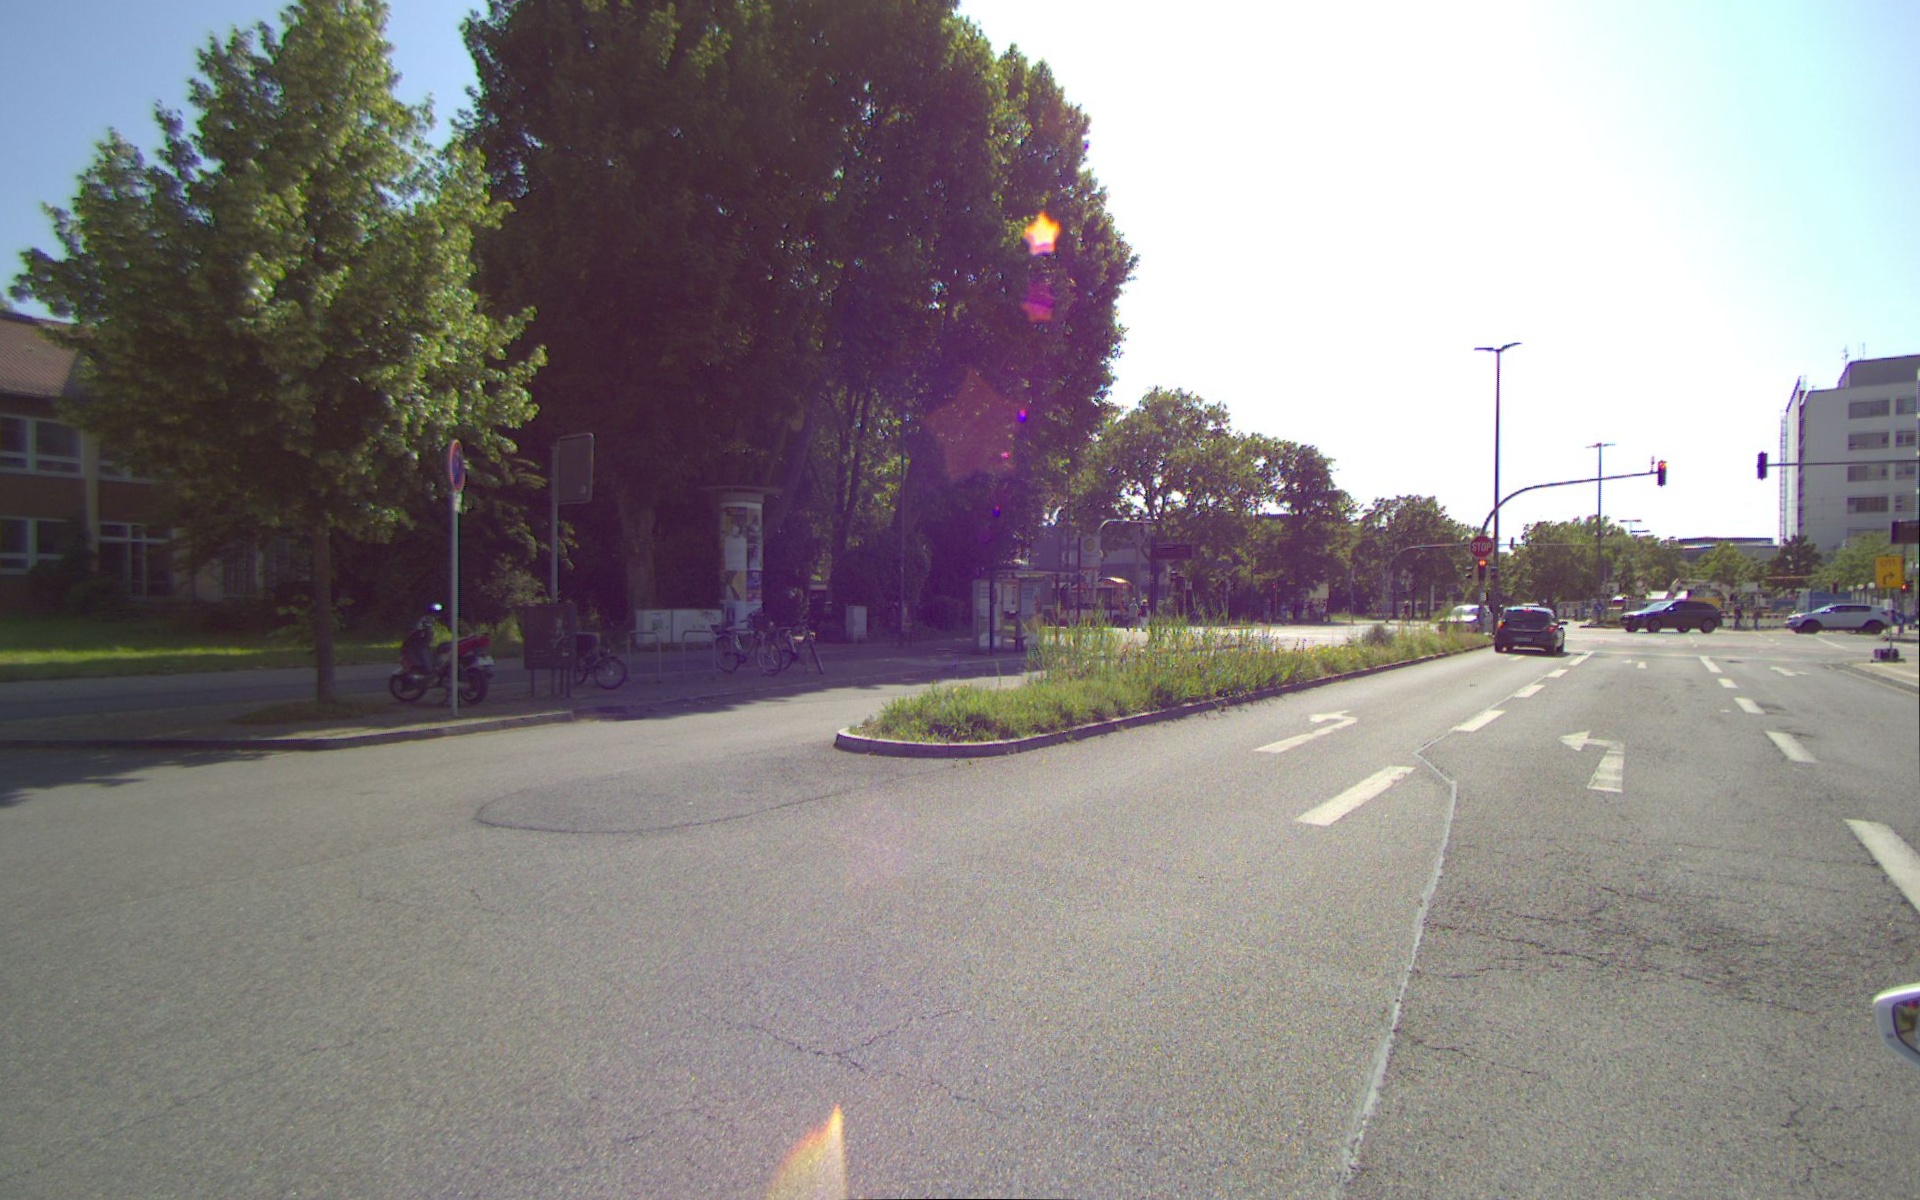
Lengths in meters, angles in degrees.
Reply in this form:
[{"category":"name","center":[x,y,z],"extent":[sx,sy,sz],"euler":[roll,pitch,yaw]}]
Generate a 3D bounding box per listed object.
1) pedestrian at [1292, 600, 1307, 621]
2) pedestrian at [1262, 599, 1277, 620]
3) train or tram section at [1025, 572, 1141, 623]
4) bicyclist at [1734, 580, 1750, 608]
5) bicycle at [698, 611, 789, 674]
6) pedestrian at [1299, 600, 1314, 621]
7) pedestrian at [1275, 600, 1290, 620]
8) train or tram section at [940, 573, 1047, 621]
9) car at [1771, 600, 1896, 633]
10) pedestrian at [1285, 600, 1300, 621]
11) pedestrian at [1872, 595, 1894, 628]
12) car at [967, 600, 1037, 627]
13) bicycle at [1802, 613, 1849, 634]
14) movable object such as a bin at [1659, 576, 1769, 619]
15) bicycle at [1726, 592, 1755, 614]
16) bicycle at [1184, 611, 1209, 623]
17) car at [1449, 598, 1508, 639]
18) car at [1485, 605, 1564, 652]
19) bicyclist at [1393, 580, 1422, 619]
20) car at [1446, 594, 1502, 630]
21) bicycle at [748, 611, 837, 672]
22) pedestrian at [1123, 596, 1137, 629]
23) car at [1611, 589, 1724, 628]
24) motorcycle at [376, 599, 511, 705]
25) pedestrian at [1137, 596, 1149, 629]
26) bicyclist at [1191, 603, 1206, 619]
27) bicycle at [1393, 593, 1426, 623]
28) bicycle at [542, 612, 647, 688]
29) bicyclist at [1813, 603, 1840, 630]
[{"category":"pedestrian","center":[26.412,0.794,78.205],"extent":[0.931,1.633,0.651],"euler":[0,1,-32]},{"category":"pedestrian","center":[24.649,0.783,80.006],"extent":[0.931,1.633,0.651],"euler":[0,1,-32]},{"category":"train or tram section","center":[8.579,-0.184,70.481],"extent":[7.453,3.376,3.110],"euler":[0,0,34]},{"category":"bicyclist","center":[72.569,-0.577,93.243],"extent":[1.057,2.608,0.823],"euler":[1,1,42]},{"category":"bicycle","center":[-4.159,0.792,19.262],"extent":[1.822,1.121,0.690],"euler":[1,0,37]},{"category":"pedestrian","center":[27.272,0.807,78.979],"extent":[0.931,1.633,0.662],"euler":[0,1,-32]},{"category":"pedestrian","center":[25.610,0.790,79.794],"extent":[0.931,1.633,0.651],"euler":[0,1,-32]},{"category":"train or tram section","center":[2.426,-0.232,74.719],"extent":[7.453,3.376,3.110],"euler":[0,0,34]},{"category":"car","center":[46.965,0.883,54.178],"extent":[4.785,1.658,1.995],"euler":[1,0,32]},{"category":"pedestrian","center":[26.232,0.796,79.288],"extent":[0.931,1.633,0.651],"euler":[0,1,-32]},{"category":"pedestrian","center":[56.327,0.694,61.299],"extent":[0.767,2.041,0.775],"euler":[0,1,-26]},{"category":"car","center":[2.245,0.721,54.151],"extent":[3.450,1.395,1.633],"euler":[0,0,34]},{"category":"bicycle","center":[54.906,1.474,63.732],"extent":[2.205,1.302,0.522],"euler":[1,1,44]},{"category":"movable object such as a bin","center":[83.439,-0.313,111.381],"extent":[9.553,4.611,3.151],"euler":[1,1,38]},{"category":"bicycle","center":[72.481,0.308,93.308],"extent":[2.064,1.988,0.823],"euler":[1,1,42]},{"category":"bicycle","center":[19.253,1.378,81.728],"extent":[1.973,0.895,0.525],"euler":[1,0,35]},{"category":"car","center":[22.229,0.745,42.983],"extent":[1.965,1.660,4.385],"euler":[0,0,31]},{"category":"car","center":[18.328,0.868,32.551],"extent":[1.966,1.417,3.989],"euler":[1,0,33]},{"category":"bicyclist","center":[34.950,-0.035,78.410],"extent":[1.578,2.970,2.345],"euler":[1,0,35]},{"category":"car","center":[24.303,0.542,47.409],"extent":[1.865,1.632,4.505],"euler":[0,0,34]},{"category":"bicycle","center":[-3.364,0.798,20.074],"extent":[1.822,1.137,0.690],"euler":[1,0,37]},{"category":"pedestrian","center":[9.185,0.657,54.325],"extent":[0.647,1.749,0.753],"euler":[0,0,18]},{"category":"car","center":[38.762,0.475,55.107],"extent":[4.773,2.040,2.000],"euler":[1,0,1]},{"category":"motorcycle","center":[-6.816,0.650,13.242],"extent":[1.818,1.301,0.692],"euler":[1,0,29]},{"category":"pedestrian","center":[9.871,0.667,54.107],"extent":[0.557,1.749,0.734],"euler":[0,0,18]},{"category":"bicyclist","center":[19.379,0.858,81.648],"extent":[1.038,1.292,0.491],"euler":[1,0,35]},{"category":"bicycle","center":[35.403,0.615,79.076],"extent":[1.578,2.299,3.987],"euler":[1,0,35]},{"category":"bicycle","center":[-5.845,0.769,16.030],"extent":[1.822,1.106,0.690],"euler":[1,0,37]},{"category":"bicyclist","center":[54.935,1.023,63.700],"extent":[1.227,1.696,0.522],"euler":[1,1,44]}]
